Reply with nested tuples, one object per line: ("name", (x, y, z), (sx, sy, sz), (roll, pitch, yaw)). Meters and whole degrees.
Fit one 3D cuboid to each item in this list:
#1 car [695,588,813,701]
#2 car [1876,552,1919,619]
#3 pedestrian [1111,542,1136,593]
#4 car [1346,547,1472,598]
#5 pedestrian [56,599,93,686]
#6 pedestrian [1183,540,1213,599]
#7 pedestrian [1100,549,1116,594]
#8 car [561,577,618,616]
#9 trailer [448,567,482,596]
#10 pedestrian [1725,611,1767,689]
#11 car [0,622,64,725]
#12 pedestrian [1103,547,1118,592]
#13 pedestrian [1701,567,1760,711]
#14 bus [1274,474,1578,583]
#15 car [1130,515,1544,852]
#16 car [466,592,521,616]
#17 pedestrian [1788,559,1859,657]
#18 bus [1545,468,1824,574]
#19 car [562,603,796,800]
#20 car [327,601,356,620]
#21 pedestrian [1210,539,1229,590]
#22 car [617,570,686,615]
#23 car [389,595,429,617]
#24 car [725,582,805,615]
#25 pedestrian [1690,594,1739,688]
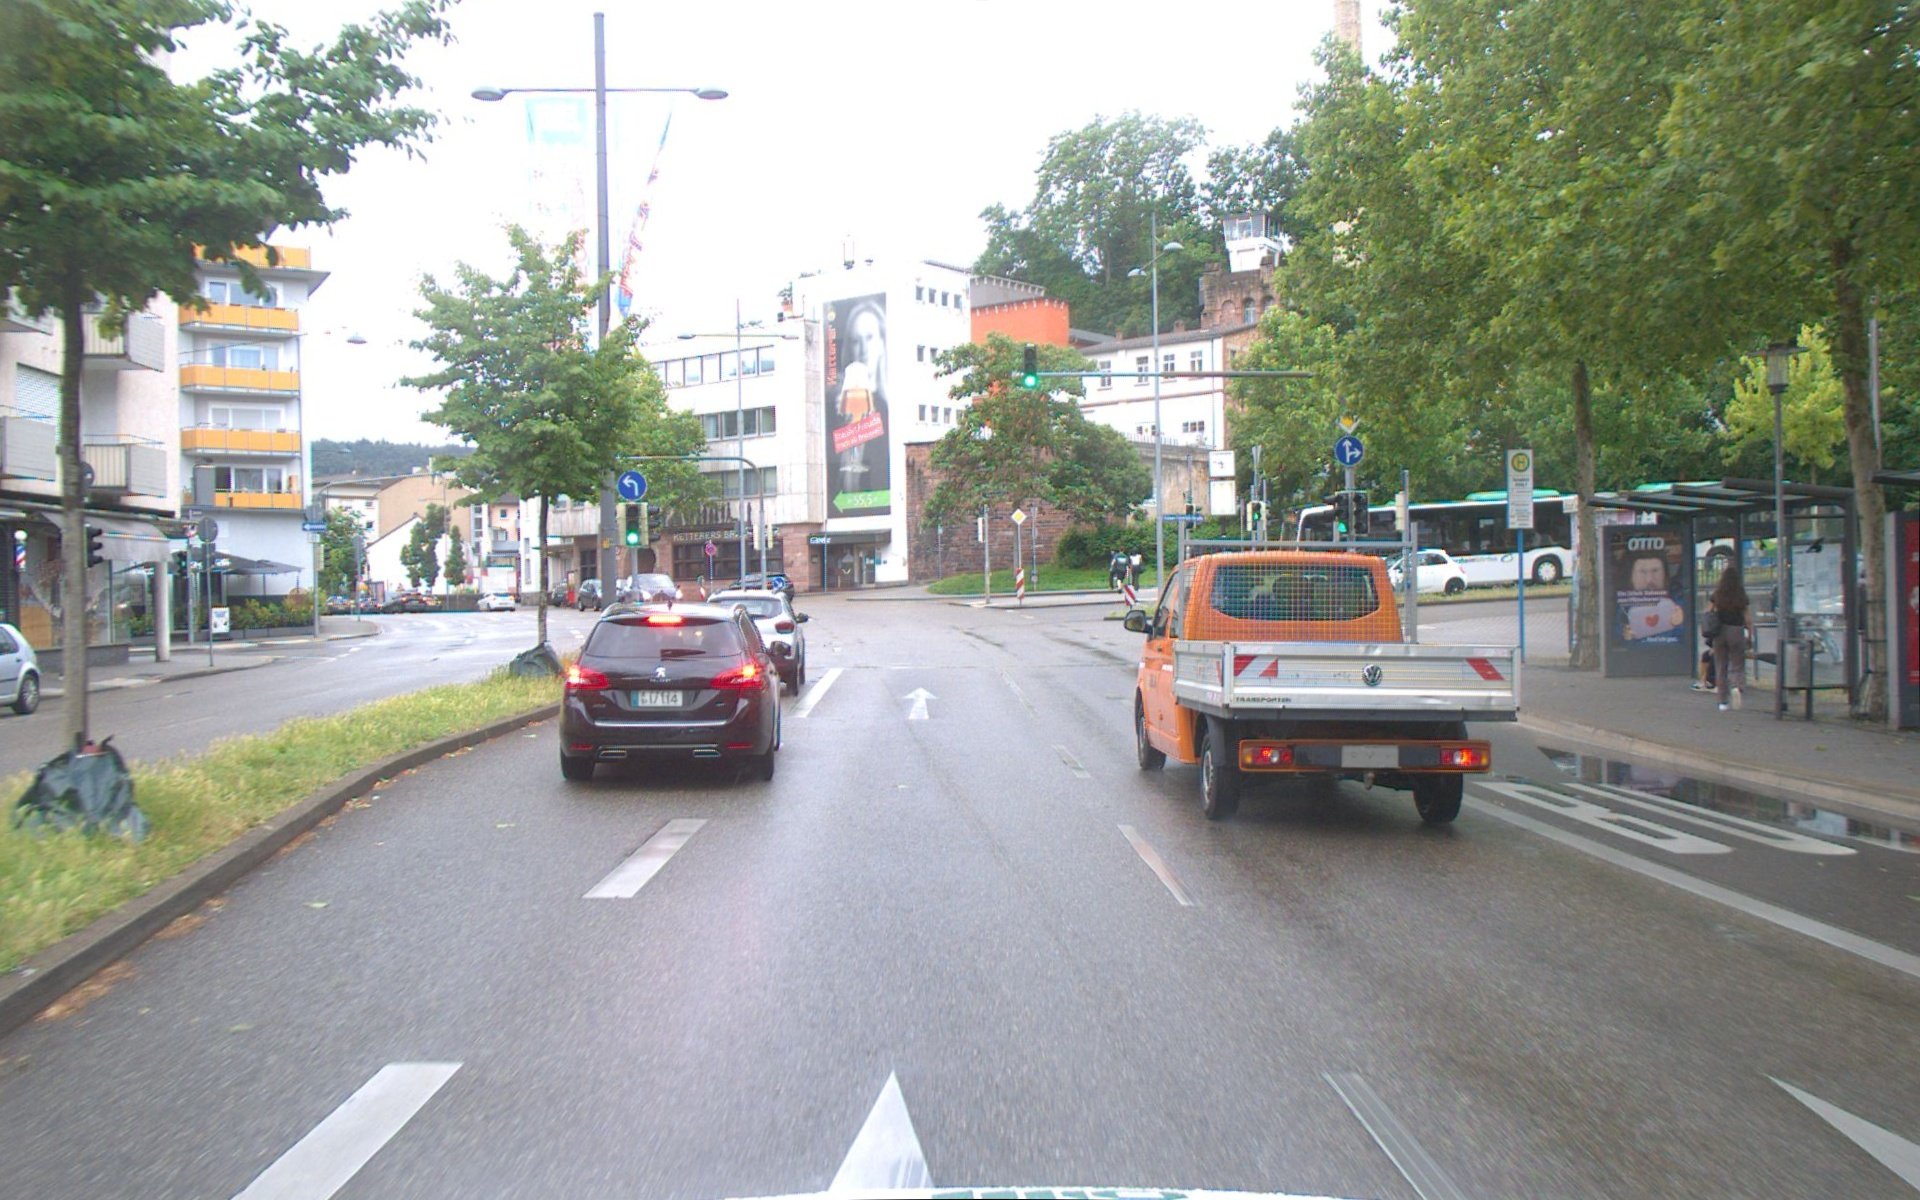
("car", (-3.036, 0.602, 24.905), (1.506, 1.487, 3.627), (-2, 1, -4))
("car", (22.506, -0.333, 36.635), (1.814, 1.465, 4.259), (-2, 1, -4))
("pedestrian", (6.148, -1.214, 62.090), (0.861, 1.863, 0.729), (-1, 0, 0))
("car", (14.160, -0.884, 52.233), (3.487, 1.476, 1.589), (-2, 2, -4))
("pedestrian", (-18.142, 0.866, 33.886), (0.443, 1.760, 0.524), (2, 1, -1))
("pedestrian", (8.479, -1.091, 58.954), (0.771, 2.048, 0.587), (-2, 3, 34))
("pedestrian", (5.544, -1.062, 61.975), (0.554, 1.644, 0.691), (0, -1, 2))
("car", (-17.210, -0.186, 76.630), (1.733, 1.642, 4.179), (-3, 2, -24))
("trailer", (-49.807, -1.823, 166.281), (2.104, 2.763, 5.341), (-4, 2, -28))
("pedestrian", (10.925, 0.690, 23.002), (0.392, 1.052, 0.370), (-2, 2, -1))
("car", (-14.616, 1.149, 23.564), (1.644, 1.416, 4.148), (-4, 1, -5))
("pedestrian", (6.122, -1.249, 67.290), (0.584, 1.812, 0.657), (0, -1, 8))
("pedestrian", (9.498, 0.463, 20.376), (0.531, 1.725, 0.553), (0, 2, 38))
("bus", (15.555, -2.413, 55.484), (9.437, 3.272, 2.704), (-2, 2, -4))
("car", (2.689, 0.518, 13.318), (2.059, 2.126, 5.541), (-1, 0, 0))
("car", (-30.189, 0.243, 107.014), (3.798, 1.420, 1.660), (1, 3, 42))
("pedestrian", (15.019, 0.125, 28.776), (0.749, 1.661, 0.861), (-2, 2, -2))
("bus", (24.441, -2.682, 56.006), (8.363, 3.235, 2.687), (-2, 2, -3))
("car", (-2.509, 0.776, 14.919), (1.766, 1.459, 4.387), (-1, 0, -9))
("car", (-52.985, 0.895, 141.633), (1.648, 1.420, 3.827), (-2, 2, -30))
("pedestrian", (9.218, -1.266, 58.748), (0.544, 1.735, 0.529), (-3, 2, 11))
("car", (-12.374, -0.311, 66.211), (1.733, 1.642, 4.179), (-3, 2, -24))
("car", (-39.284, 0.396, 117.822), (1.651, 1.420, 3.819), (-2, 2, -35))
("car", (-9.104, -0.053, 76.937), (1.775, 1.427, 4.576), (2, -2, -35))
("pedestrian", (10.712, 0.580, 23.480), (0.488, 1.293, 0.401), (-2, 2, -1))
